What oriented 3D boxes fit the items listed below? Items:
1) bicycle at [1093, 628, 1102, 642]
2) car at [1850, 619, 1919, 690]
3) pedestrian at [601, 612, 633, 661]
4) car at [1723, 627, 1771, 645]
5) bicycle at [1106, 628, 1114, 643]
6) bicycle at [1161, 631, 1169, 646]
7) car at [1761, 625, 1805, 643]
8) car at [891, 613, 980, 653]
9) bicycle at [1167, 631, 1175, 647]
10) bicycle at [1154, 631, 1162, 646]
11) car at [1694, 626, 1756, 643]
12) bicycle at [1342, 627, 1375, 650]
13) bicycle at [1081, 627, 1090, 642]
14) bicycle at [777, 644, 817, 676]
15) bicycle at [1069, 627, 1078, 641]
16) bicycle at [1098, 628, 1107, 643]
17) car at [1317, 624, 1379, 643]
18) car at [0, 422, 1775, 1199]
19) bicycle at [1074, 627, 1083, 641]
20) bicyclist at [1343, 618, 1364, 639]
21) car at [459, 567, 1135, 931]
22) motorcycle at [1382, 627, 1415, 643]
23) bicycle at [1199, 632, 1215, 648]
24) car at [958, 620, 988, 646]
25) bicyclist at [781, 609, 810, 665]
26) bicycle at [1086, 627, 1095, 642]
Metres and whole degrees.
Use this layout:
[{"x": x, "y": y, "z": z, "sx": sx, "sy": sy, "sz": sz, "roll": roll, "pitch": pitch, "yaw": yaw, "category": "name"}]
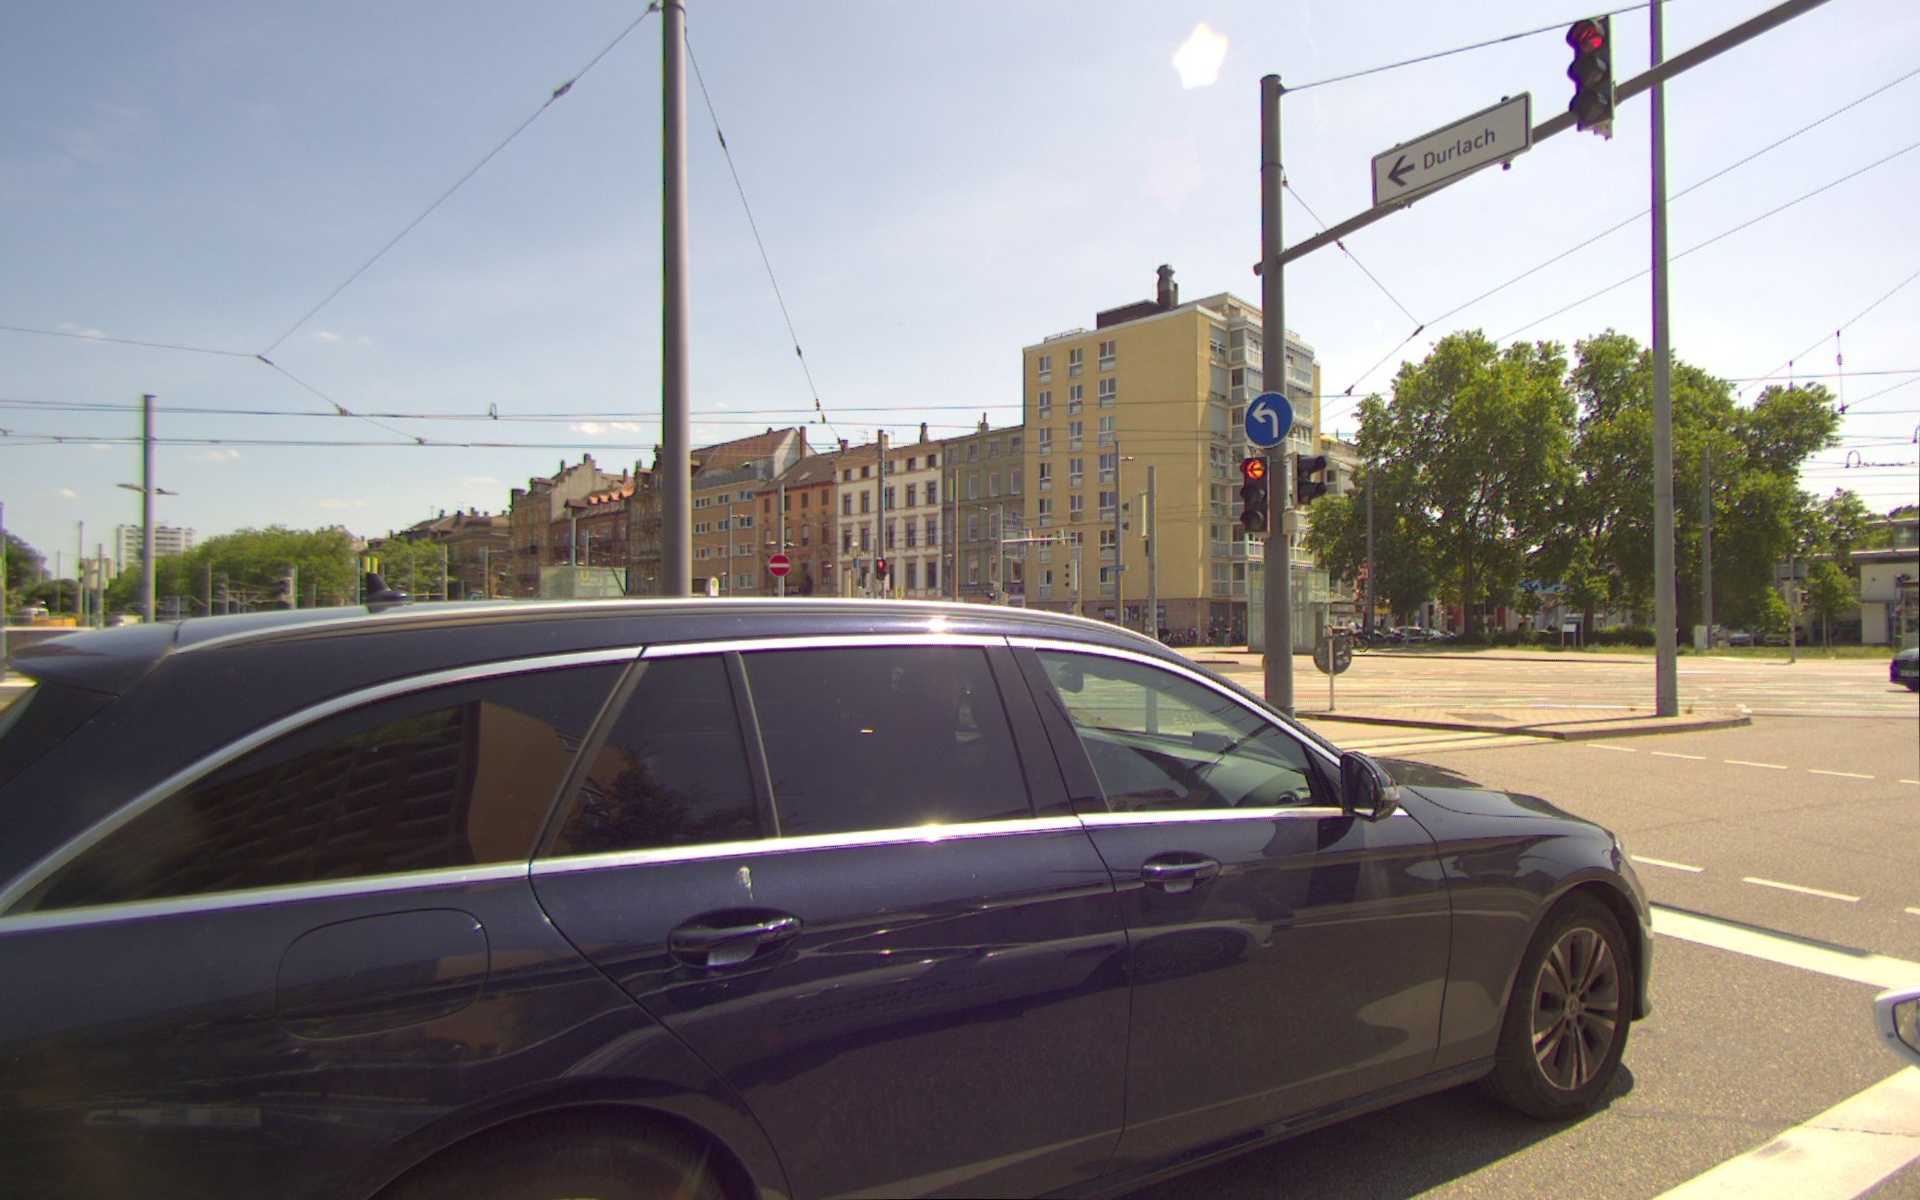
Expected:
[{"x": 9.972, "y": 2.541, "z": 73.007, "sx": 0.424, "sy": 1.040, "sz": 1.445, "roll": 0, "pitch": -1, "yaw": 16, "category": "bicycle"}, {"x": 22.448, "y": 1.147, "z": 21.557, "sx": 4.748, "sy": 1.484, "sz": 2.001, "roll": 0, "pitch": -1, "yaw": 5, "category": "car"}, {"x": -13.152, "y": 1.399, "z": 38.514, "sx": 1.114, "sy": 1.837, "sz": 0.677, "roll": -1, "pitch": -1, "yaw": 38, "category": "pedestrian"}, {"x": 68.153, "y": 3.105, "z": 86.963, "sx": 4.274, "sy": 1.530, "sz": 1.759, "roll": 1, "pitch": -2, "yaw": -29, "category": "car"}, {"x": 10.805, "y": 2.564, "z": 72.350, "sx": 0.424, "sy": 1.040, "sz": 1.445, "roll": 0, "pitch": -1, "yaw": 16, "category": "bicycle"}, {"x": 14.035, "y": 2.646, "z": 68.864, "sx": 0.424, "sy": 1.040, "sz": 1.445, "roll": 0, "pitch": -1, "yaw": 16, "category": "bicycle"}, {"x": 69.254, "y": 2.848, "z": 84.485, "sx": 4.283, "sy": 1.530, "sz": 1.756, "roll": 1, "pitch": -2, "yaw": -35, "category": "car"}, {"x": -1.376, "y": 1.759, "z": 54.048, "sx": 4.804, "sy": 2.084, "sz": 1.988, "roll": -1, "pitch": -2, "yaw": 43, "category": "car"}, {"x": 14.404, "y": 2.656, "z": 68.600, "sx": 0.424, "sy": 1.040, "sz": 1.445, "roll": 0, "pitch": -1, "yaw": 16, "category": "bicycle"}, {"x": 13.661, "y": 2.636, "z": 69.176, "sx": 0.424, "sy": 1.040, "sz": 1.445, "roll": 0, "pitch": -1, "yaw": 16, "category": "bicycle"}, {"x": 70.955, "y": 3.170, "z": 93.235, "sx": 4.245, "sy": 1.530, "sz": 1.771, "roll": -1, "pitch": -2, "yaw": 26, "category": "car"}, {"x": 21.757, "y": 2.111, "z": 54.825, "sx": 1.489, "sy": 1.233, "sz": 0.713, "roll": -1, "pitch": -2, "yaw": 44, "category": "bicycle"}, {"x": 9.168, "y": 2.520, "z": 73.611, "sx": 0.424, "sy": 1.040, "sz": 1.445, "roll": 0, "pitch": -1, "yaw": 16, "category": "bicycle"}, {"x": -4.672, "y": 1.697, "z": 28.757, "sx": 0.620, "sy": 0.866, "sz": 1.888, "roll": 1, "pitch": -2, "yaw": -26, "category": "bicycle"}, {"x": 8.399, "y": 2.500, "z": 74.387, "sx": 0.424, "sy": 1.040, "sz": 1.445, "roll": 0, "pitch": -1, "yaw": 16, "category": "bicycle"}, {"x": 10.288, "y": 2.549, "z": 72.609, "sx": 0.424, "sy": 1.040, "sz": 1.445, "roll": 0, "pitch": -1, "yaw": 16, "category": "bicycle"}, {"x": 29.442, "y": 2.525, "z": 76.269, "sx": 3.944, "sy": 1.439, "sz": 1.988, "roll": -1, "pitch": -2, "yaw": 43, "category": "car"}, {"x": 0.167, "y": 0.652, "z": 2.894, "sx": 4.747, "sy": 1.662, "sz": 1.789, "roll": 1, "pitch": 0, "yaw": -30, "category": "car"}, {"x": 8.741, "y": 2.509, "z": 74.048, "sx": 0.424, "sy": 1.040, "sz": 1.445, "roll": 0, "pitch": -1, "yaw": 16, "category": "bicycle"}, {"x": 21.555, "y": 1.564, "z": 55.028, "sx": 0.915, "sy": 1.157, "sz": 0.713, "roll": -1, "pitch": -2, "yaw": 44, "category": "bicyclist"}, {"x": -0.935, "y": 0.699, "z": 6.092, "sx": 3.692, "sy": 1.597, "sz": 1.736, "roll": 1, "pitch": -2, "yaw": -30, "category": "car"}, {"x": 27.731, "y": 2.221, "z": 63.540, "sx": 1.887, "sy": 0.974, "sz": 0.524, "roll": -1, "pitch": -1, "yaw": 31, "category": "motorcycle"}, {"x": 16.819, "y": 2.728, "z": 68.331, "sx": 0.427, "sy": 1.040, "sz": 1.435, "roll": -1, "pitch": -2, "yaw": 44, "category": "bicycle"}, {"x": 0.867, "y": 2.330, "z": 70.699, "sx": 1.803, "sy": 1.773, "sz": 3.998, "roll": 0, "pitch": -1, "yaw": -4, "category": "car"}, {"x": -4.698, "y": 1.049, "z": 28.646, "sx": 0.433, "sy": 1.549, "sz": 1.245, "roll": 2, "pitch": 0, "yaw": -26, "category": "bicyclist"}, {"x": 9.530, "y": 2.529, "z": 73.303, "sx": 0.424, "sy": 1.040, "sz": 1.445, "roll": 0, "pitch": -1, "yaw": 16, "category": "bicycle"}]
